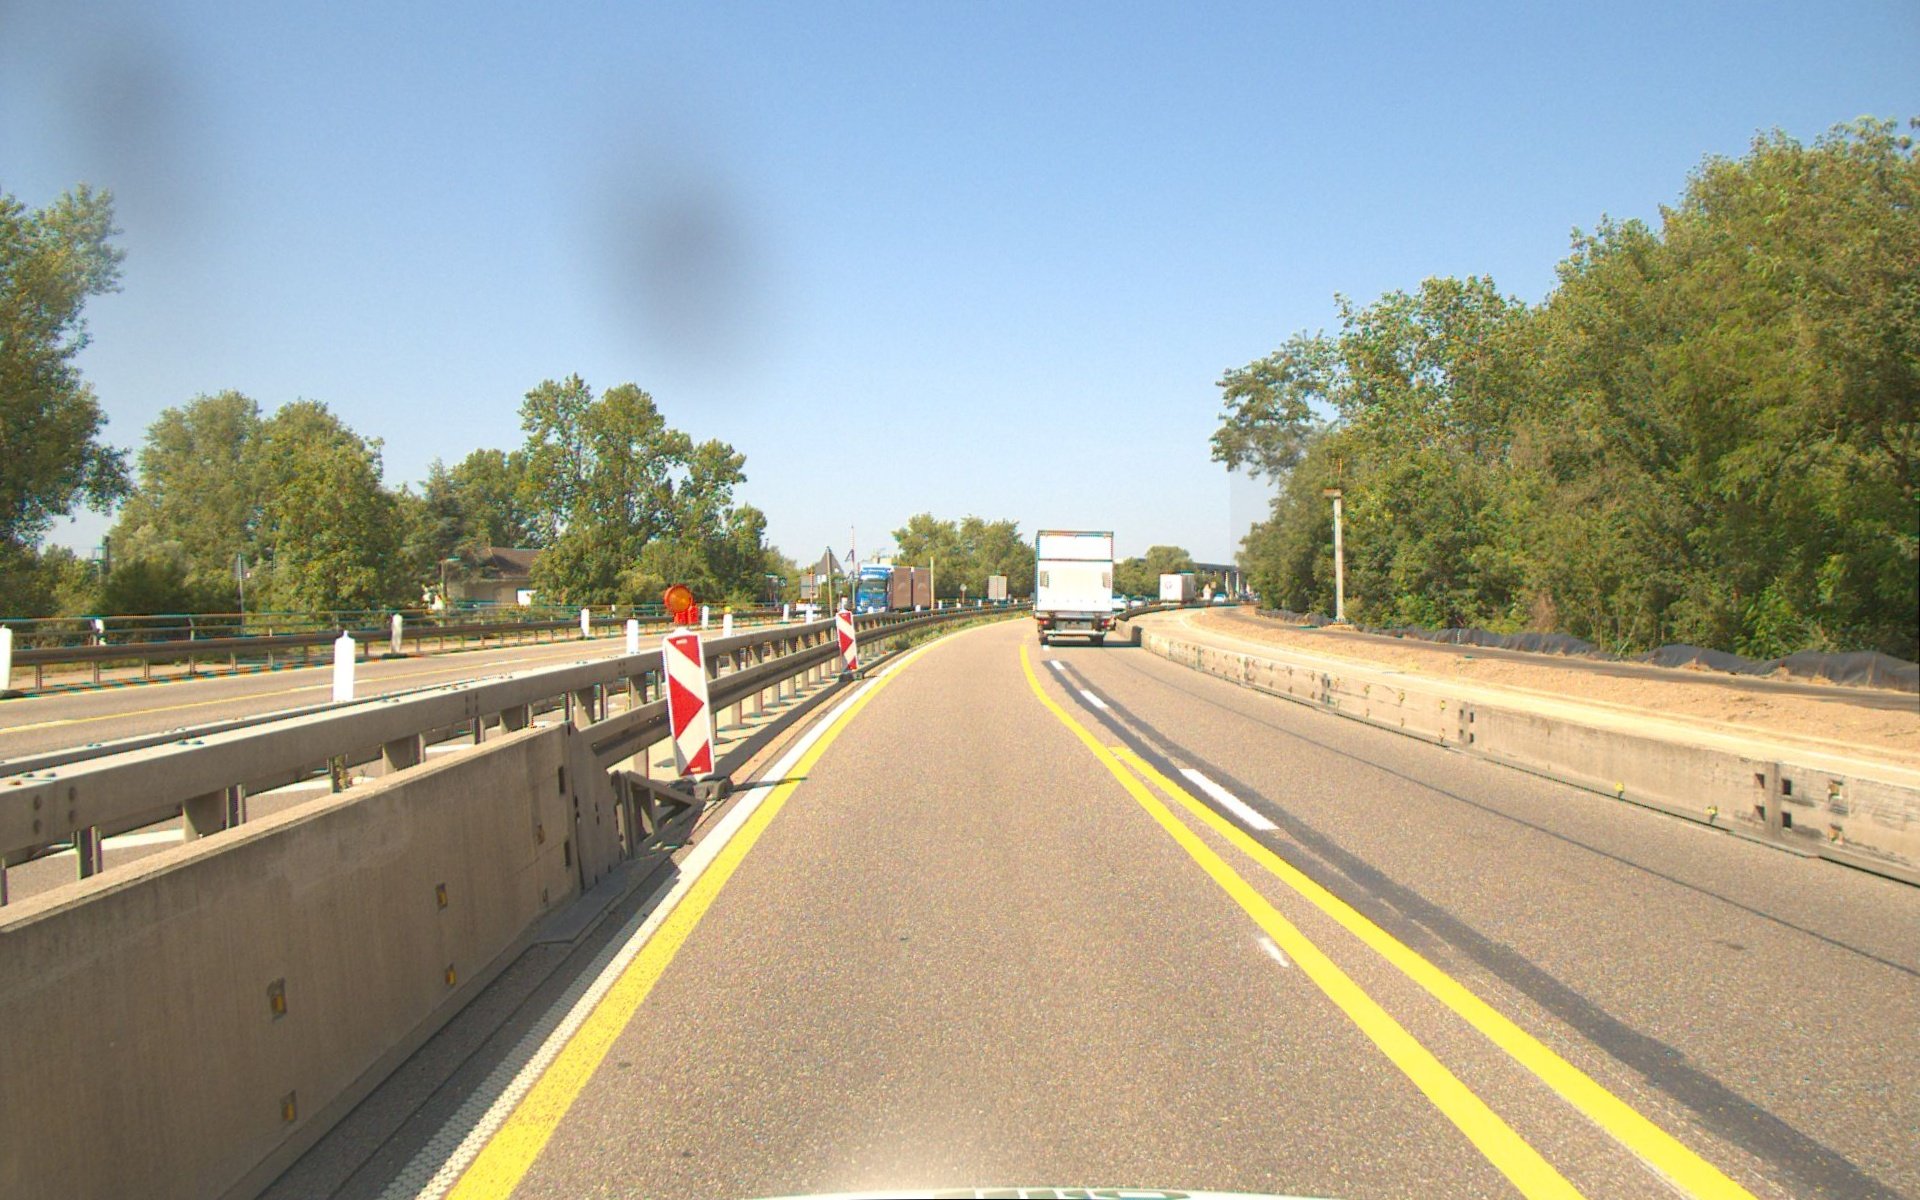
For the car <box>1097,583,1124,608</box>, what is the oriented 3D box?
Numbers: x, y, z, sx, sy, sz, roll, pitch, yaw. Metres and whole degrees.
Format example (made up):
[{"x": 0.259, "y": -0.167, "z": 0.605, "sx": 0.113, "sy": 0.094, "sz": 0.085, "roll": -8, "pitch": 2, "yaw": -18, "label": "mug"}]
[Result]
[{"x": 12.795, "y": -0.376, "z": 140.261, "sx": 1.951, "sy": 2.049, "sz": 4.004, "roll": -2, "pitch": 0, "yaw": 9, "label": "car"}]

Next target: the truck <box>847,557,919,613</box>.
[{"x": -5.939, "y": -1.182, "z": 129.953, "sx": 2.973, "sy": 4.163, "sz": 10.633, "roll": 0, "pitch": 0, "yaw": 12, "label": "truck"}]

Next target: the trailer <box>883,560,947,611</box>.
[{"x": -3.717, "y": -1.215, "z": 139.967, "sx": 2.973, "sy": 4.163, "sz": 9.796, "roll": 0, "pitch": 0, "yaw": 13, "label": "trailer"}]

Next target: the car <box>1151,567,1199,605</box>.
[{"x": 26.025, "y": -1.717, "z": 200.125, "sx": 4.118, "sy": 4.326, "sz": 10.669, "roll": -2, "pitch": 0, "yaw": 16, "label": "car"}]

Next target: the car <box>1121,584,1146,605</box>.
[{"x": 17.219, "y": -0.549, "z": 164.065, "sx": 1.951, "sy": 2.049, "sz": 4.004, "roll": -2, "pitch": 0, "yaw": 13, "label": "car"}]

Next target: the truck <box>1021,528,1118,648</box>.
[{"x": 3.371, "y": -0.380, "z": 52.413, "sx": 2.580, "sy": 3.487, "sz": 7.233, "roll": 1, "pitch": 0, "yaw": 0, "label": "truck"}]
